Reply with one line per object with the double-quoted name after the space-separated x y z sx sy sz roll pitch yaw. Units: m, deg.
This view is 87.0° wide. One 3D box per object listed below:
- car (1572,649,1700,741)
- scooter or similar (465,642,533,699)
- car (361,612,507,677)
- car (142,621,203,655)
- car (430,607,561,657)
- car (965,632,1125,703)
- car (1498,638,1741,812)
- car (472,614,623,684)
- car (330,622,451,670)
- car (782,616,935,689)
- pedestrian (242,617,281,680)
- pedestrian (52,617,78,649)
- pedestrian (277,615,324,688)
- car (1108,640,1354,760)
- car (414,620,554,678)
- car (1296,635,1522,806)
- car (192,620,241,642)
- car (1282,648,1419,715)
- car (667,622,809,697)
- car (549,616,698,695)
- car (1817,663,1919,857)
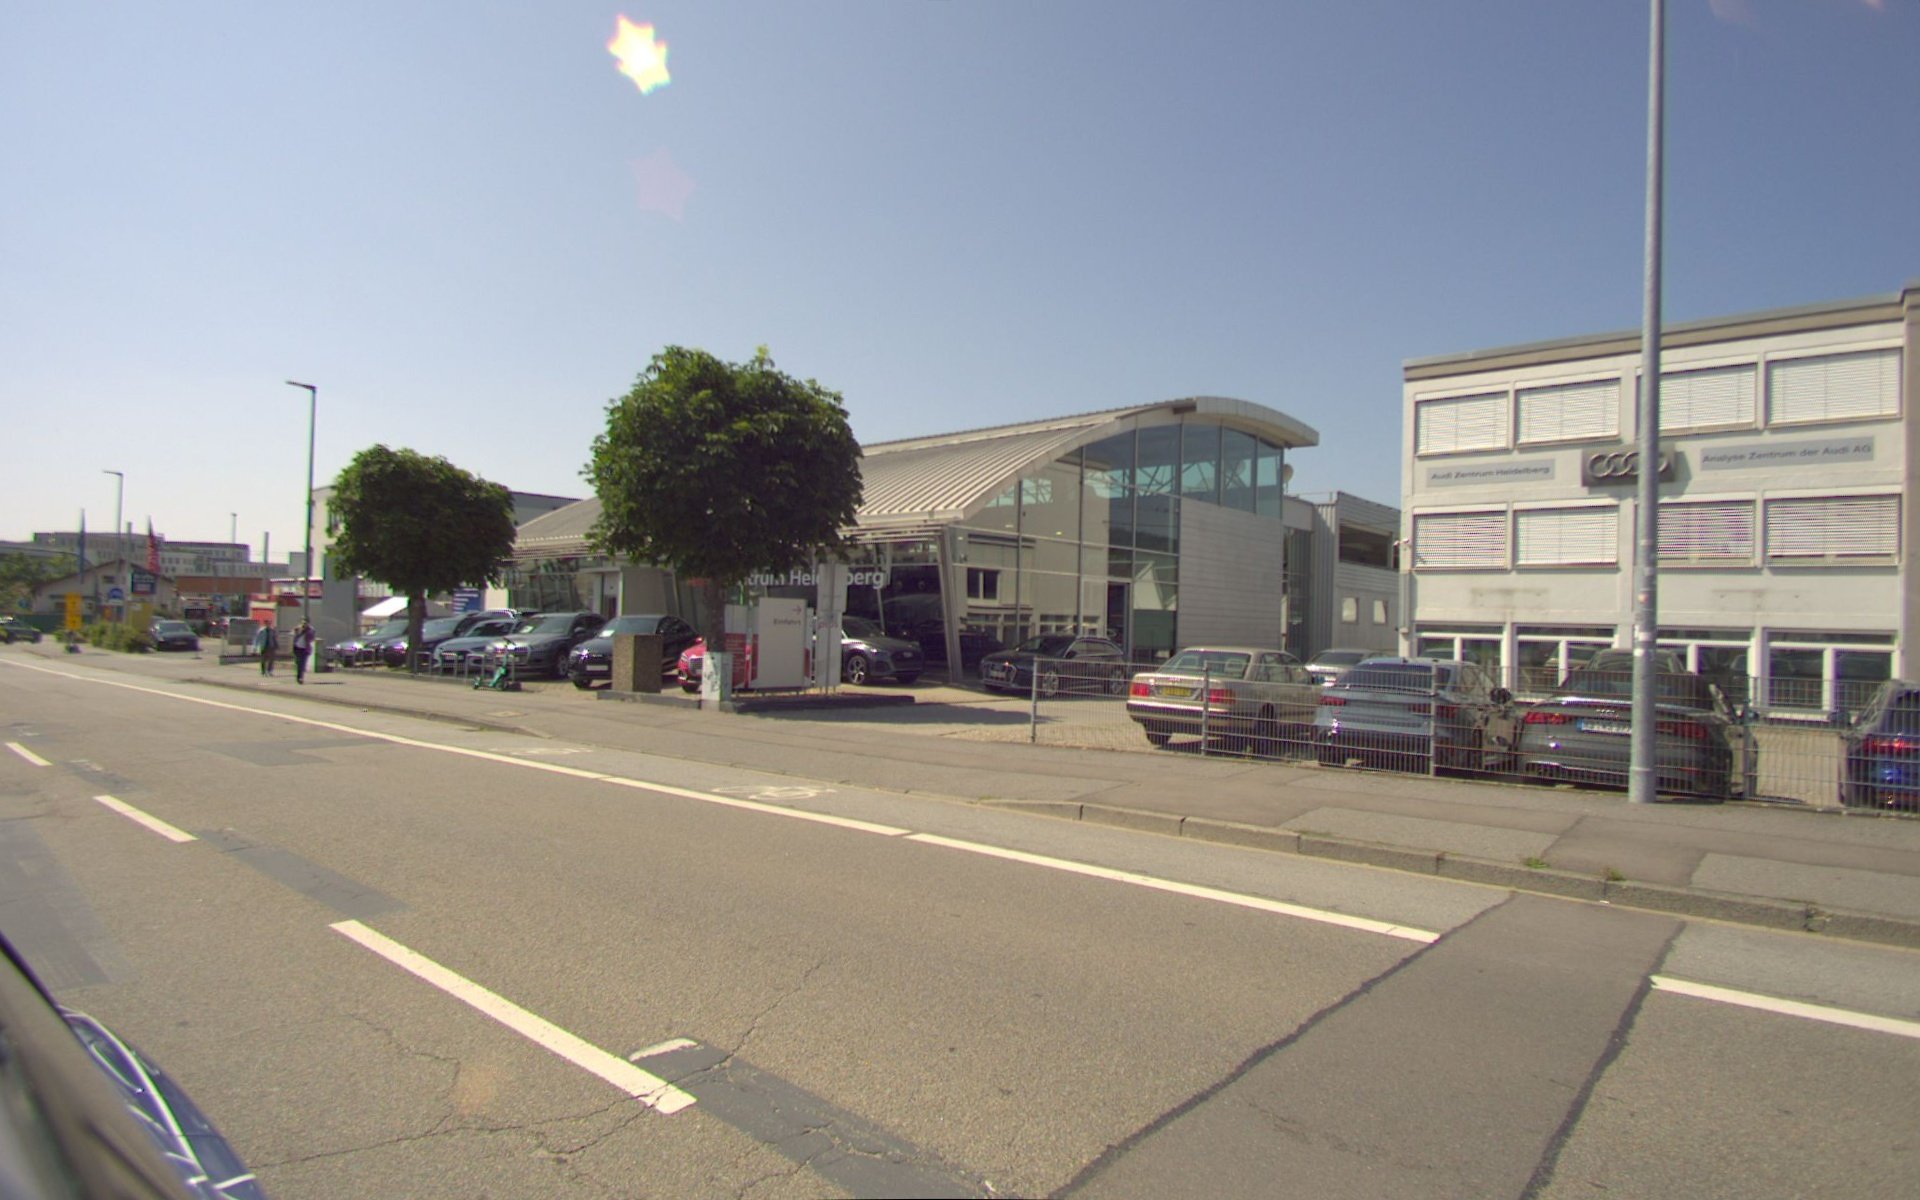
13.783 1.830 20.525 1.856 1.565 4.312 -1 -2 38 "car"
-10.667 1.618 23.421 1.486 1.257 0.738 -1 -2 33 "scooter or similar"
-16.581 1.349 32.206 1.941 1.620 4.476 -4 1 5 "car"
-41.358 1.999 53.118 4.000 1.728 1.884 -1 -3 43 "car"
-17.761 1.194 38.658 4.706 1.732 1.983 -1 1 26 "car"
2.102 1.628 24.831 3.418 1.518 1.890 3 0 -33 "car"
7.367 1.393 11.117 1.857 1.454 3.949 2 -7 38 "car"
-10.795 1.251 26.872 1.836 1.709 4.572 0 -2 5 "car"
-19.050 1.509 34.064 1.880 1.470 4.163 0 -1 -2 "car"
-2.663 1.292 25.915 1.969 1.697 4.006 2 -2 -41 "car"
-20.917 1.453 30.314 0.911 1.862 0.715 -1 -3 41 "pedestrian"
-48.565 1.798 54.925 0.981 1.698 0.801 2 -3 -38 "pedestrian"
-17.403 1.345 26.712 1.046 1.882 0.725 -2 -3 41 "pedestrian"
4.161 1.351 14.994 1.898 1.469 4.479 -1 -3 39 "car"
-13.716 1.361 29.466 1.851 1.506 4.196 0 0 5 "car"
5.709 1.327 12.618 1.820 1.455 3.856 2 3 36 "car"
-50.369 2.111 68.532 4.486 1.399 1.886 -2 -3 44 "car"
9.317 1.870 23.989 1.858 1.370 3.946 -1 -2 40 "car"
-5.008 1.304 23.407 1.839 1.562 3.987 0 -2 10 "car"
-8.215 1.293 25.170 1.887 1.720 4.474 0 0 5 "car"
9.420 1.422 9.474 1.856 1.501 3.950 2 -1 37 "car"
